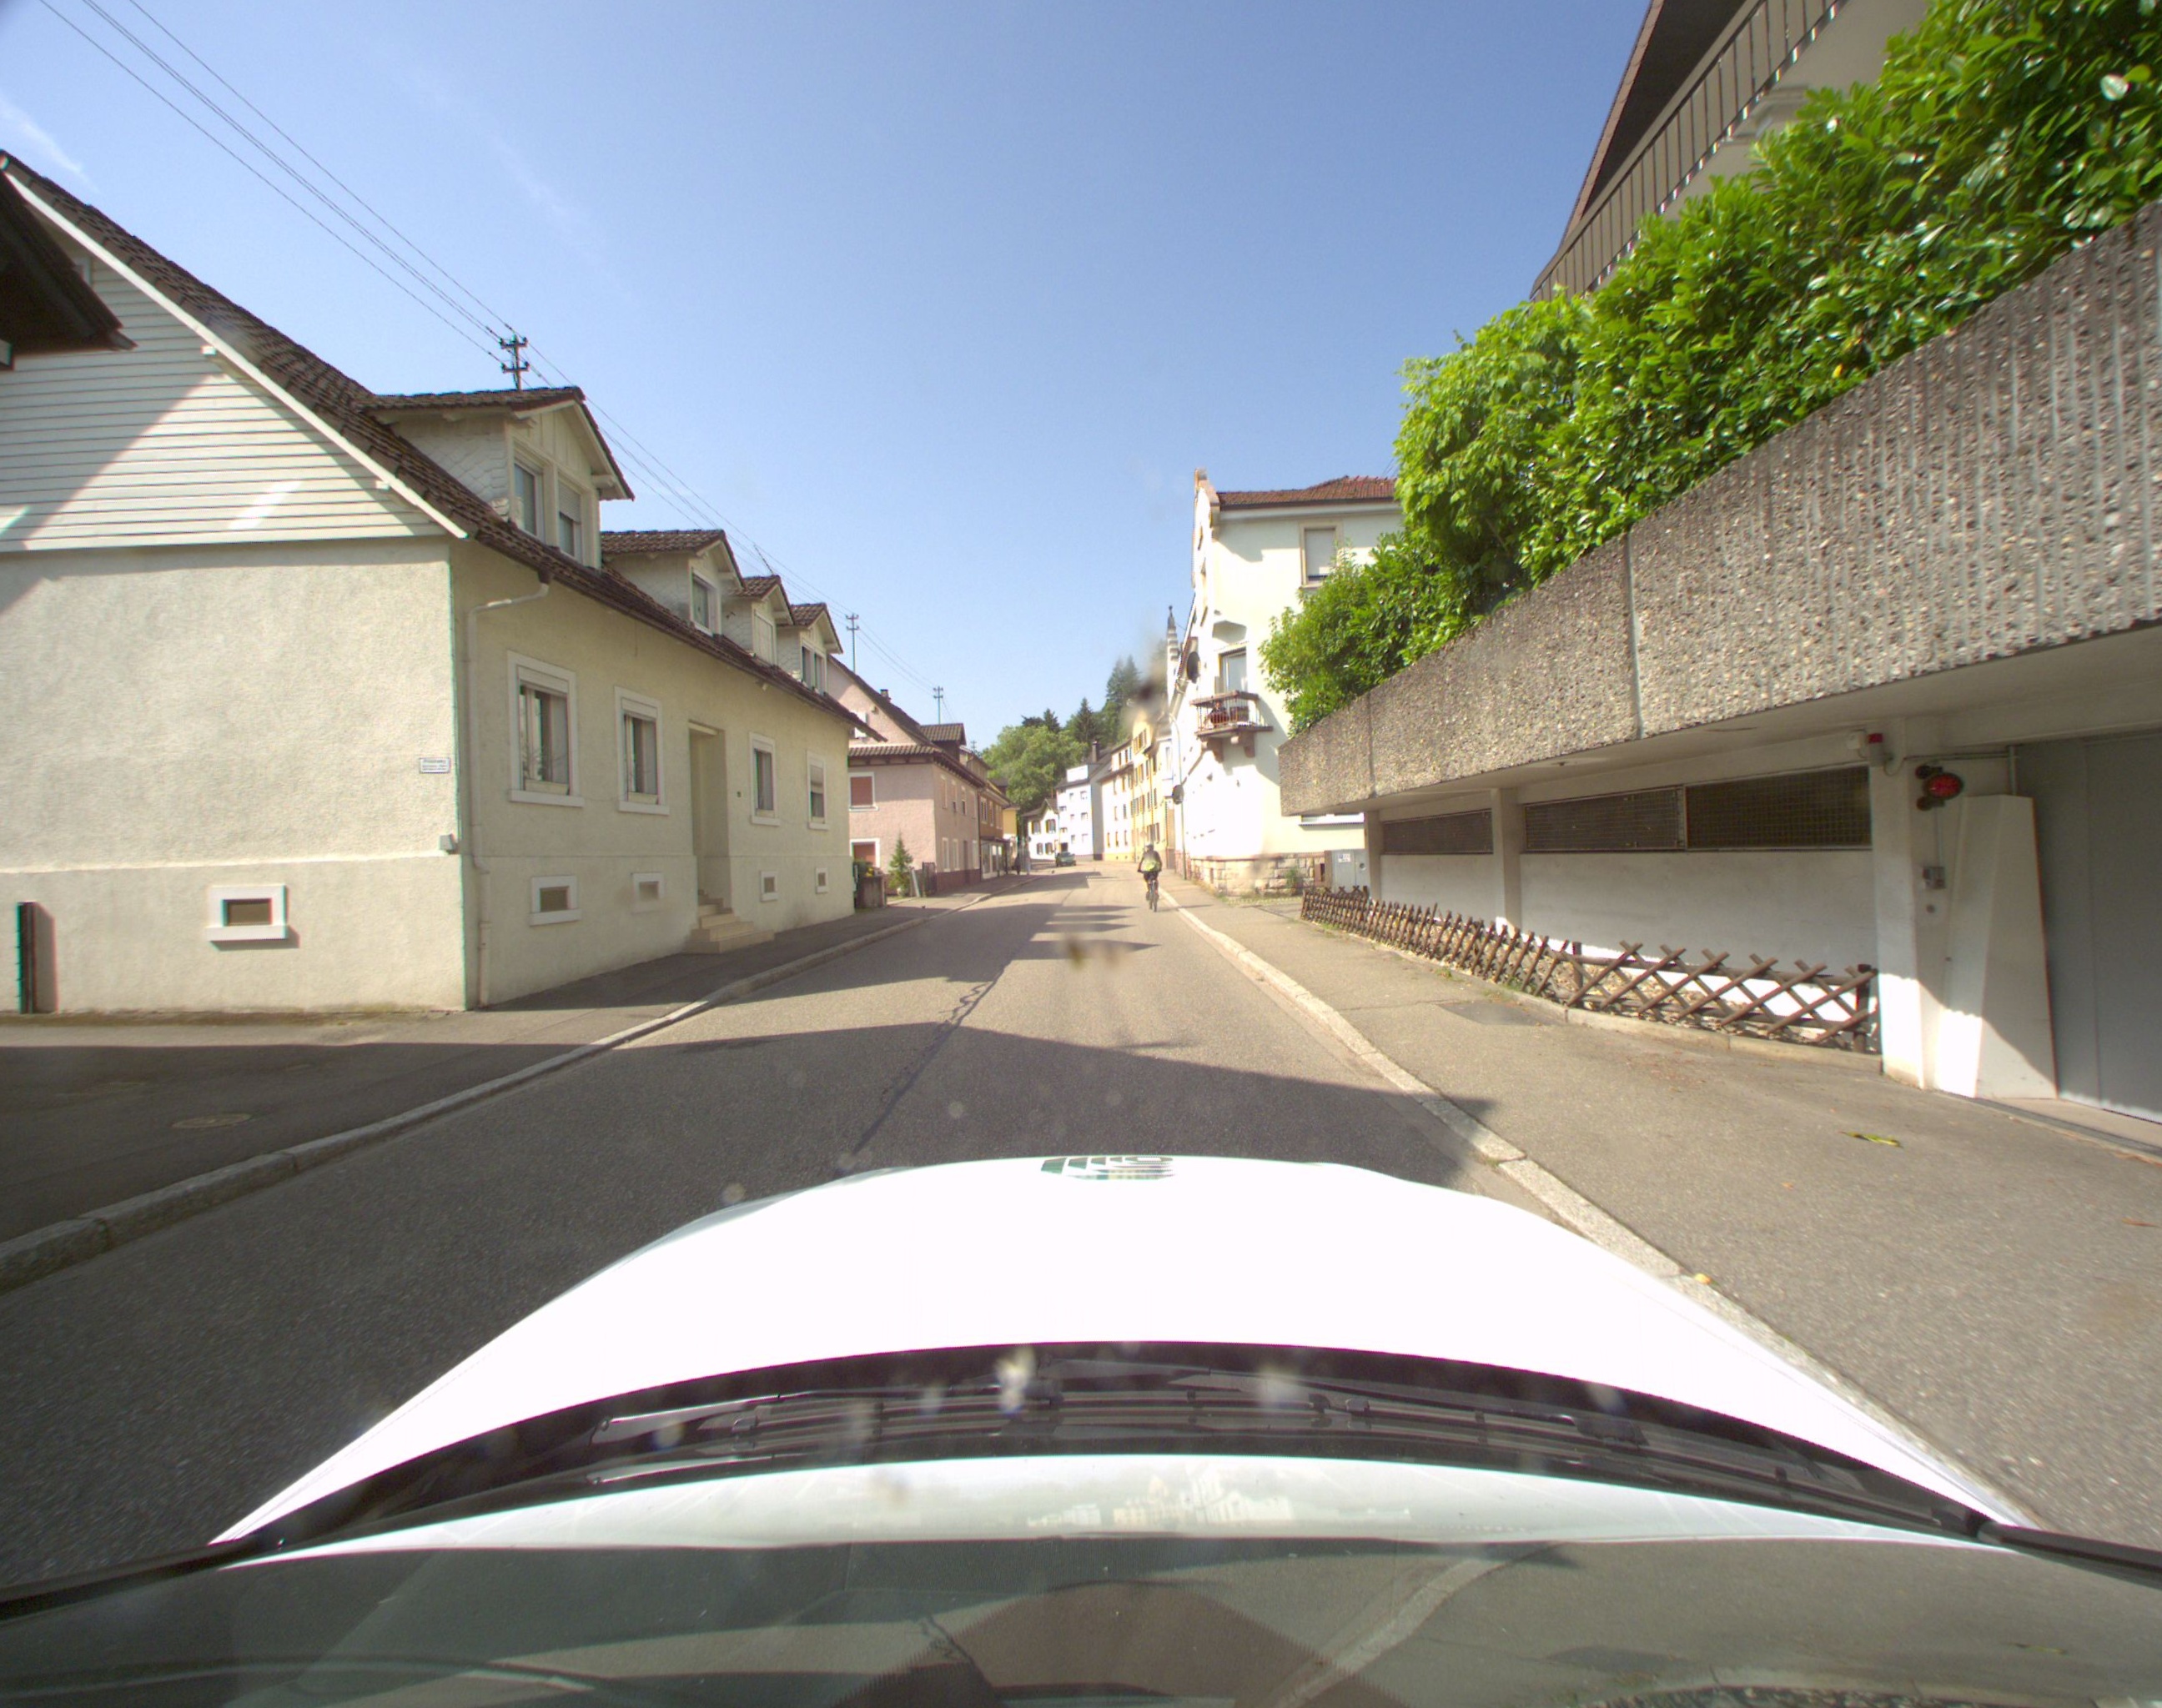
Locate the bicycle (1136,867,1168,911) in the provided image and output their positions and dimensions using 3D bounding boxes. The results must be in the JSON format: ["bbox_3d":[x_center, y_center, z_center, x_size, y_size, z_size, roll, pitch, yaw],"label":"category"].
[{"bbox_3d":[1.834,0.890,21.136,0.696,1.035,1.471,-1,0,0],"label":"bicycle"}]

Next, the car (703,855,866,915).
[{"bbox_3d":[-8.476,0.857,23.579,3.975,1.594,1.906,-1,0,-1],"label":"car"}]

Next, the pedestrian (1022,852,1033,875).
[{"bbox_3d":[-3.878,0.665,59.224,0.637,1.626,0.777,1,0,2],"label":"pedestrian"}]

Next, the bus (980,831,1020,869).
[{"bbox_3d":[-7.140,-0.341,73.144,2.812,3.228,9.031,0,0,-1],"label":"bus"}]

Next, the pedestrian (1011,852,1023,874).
[{"bbox_3d":[-4.650,0.667,59.433,0.732,1.564,0.825,1,0,2],"label":"pedestrian"}]

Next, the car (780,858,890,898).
[{"bbox_3d":[-9.462,0.908,31.565,3.740,1.392,1.645,-1,1,-2],"label":"car"}]

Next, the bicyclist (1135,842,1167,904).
[{"bbox_3d":[1.803,0.477,21.010,0.683,1.531,0.715,-3,0,0],"label":"bicyclist"}]

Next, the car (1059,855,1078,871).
[{"bbox_3d":[-1.326,0.889,84.008,1.594,1.464,3.652,-5,0,-6],"label":"car"}]
